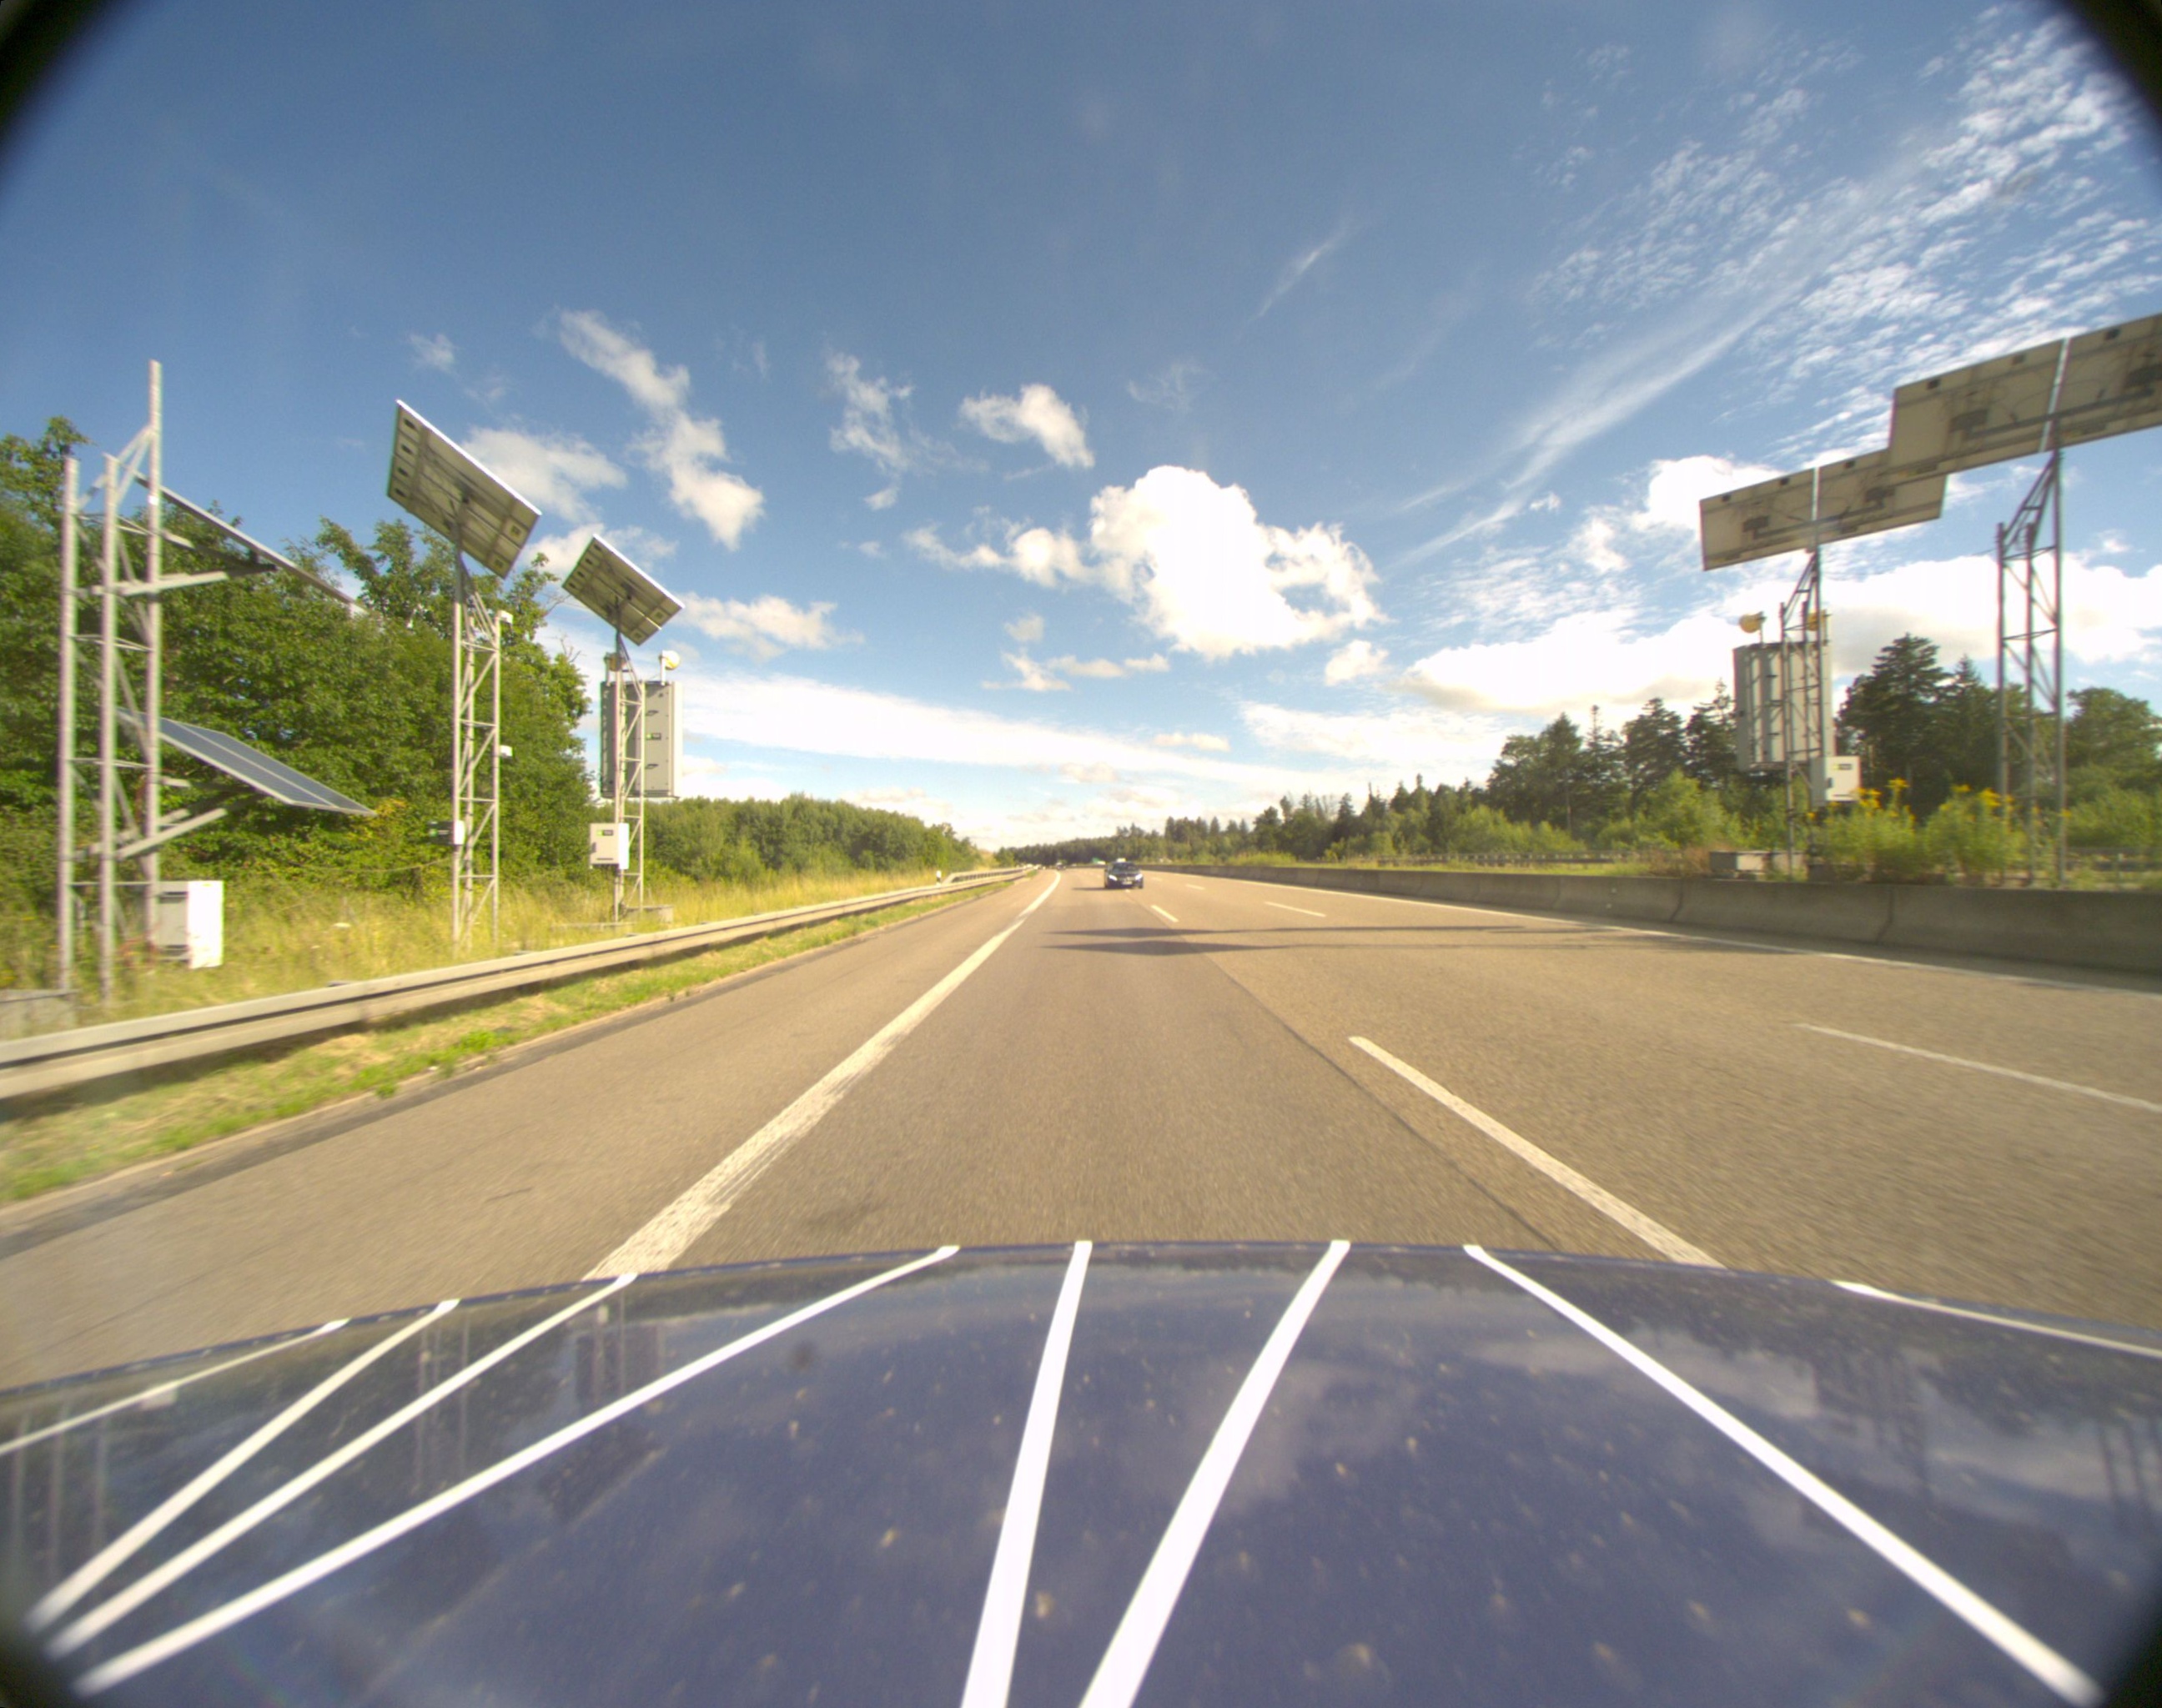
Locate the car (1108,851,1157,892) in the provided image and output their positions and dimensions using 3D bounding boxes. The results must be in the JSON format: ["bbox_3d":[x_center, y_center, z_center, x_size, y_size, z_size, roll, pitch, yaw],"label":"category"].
[{"bbox_3d":[2.451,0.810,36.913,1.999,1.827,4.000,-2,0,-1],"label":"car"}]

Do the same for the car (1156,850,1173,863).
[{"bbox_3d":[16.319,0.533,148.215,2.316,2.304,6.192,-5,0,-1],"label":"car"}]

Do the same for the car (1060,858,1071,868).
[{"bbox_3d":[-3.408,1.955,169.416,1.998,2.002,4.001,-3,0,3],"label":"car"}]

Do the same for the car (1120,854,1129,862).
[{"bbox_3d":[12.393,1.149,216.238,2.070,2.231,5.203,-2,0,-1],"label":"car"}]
